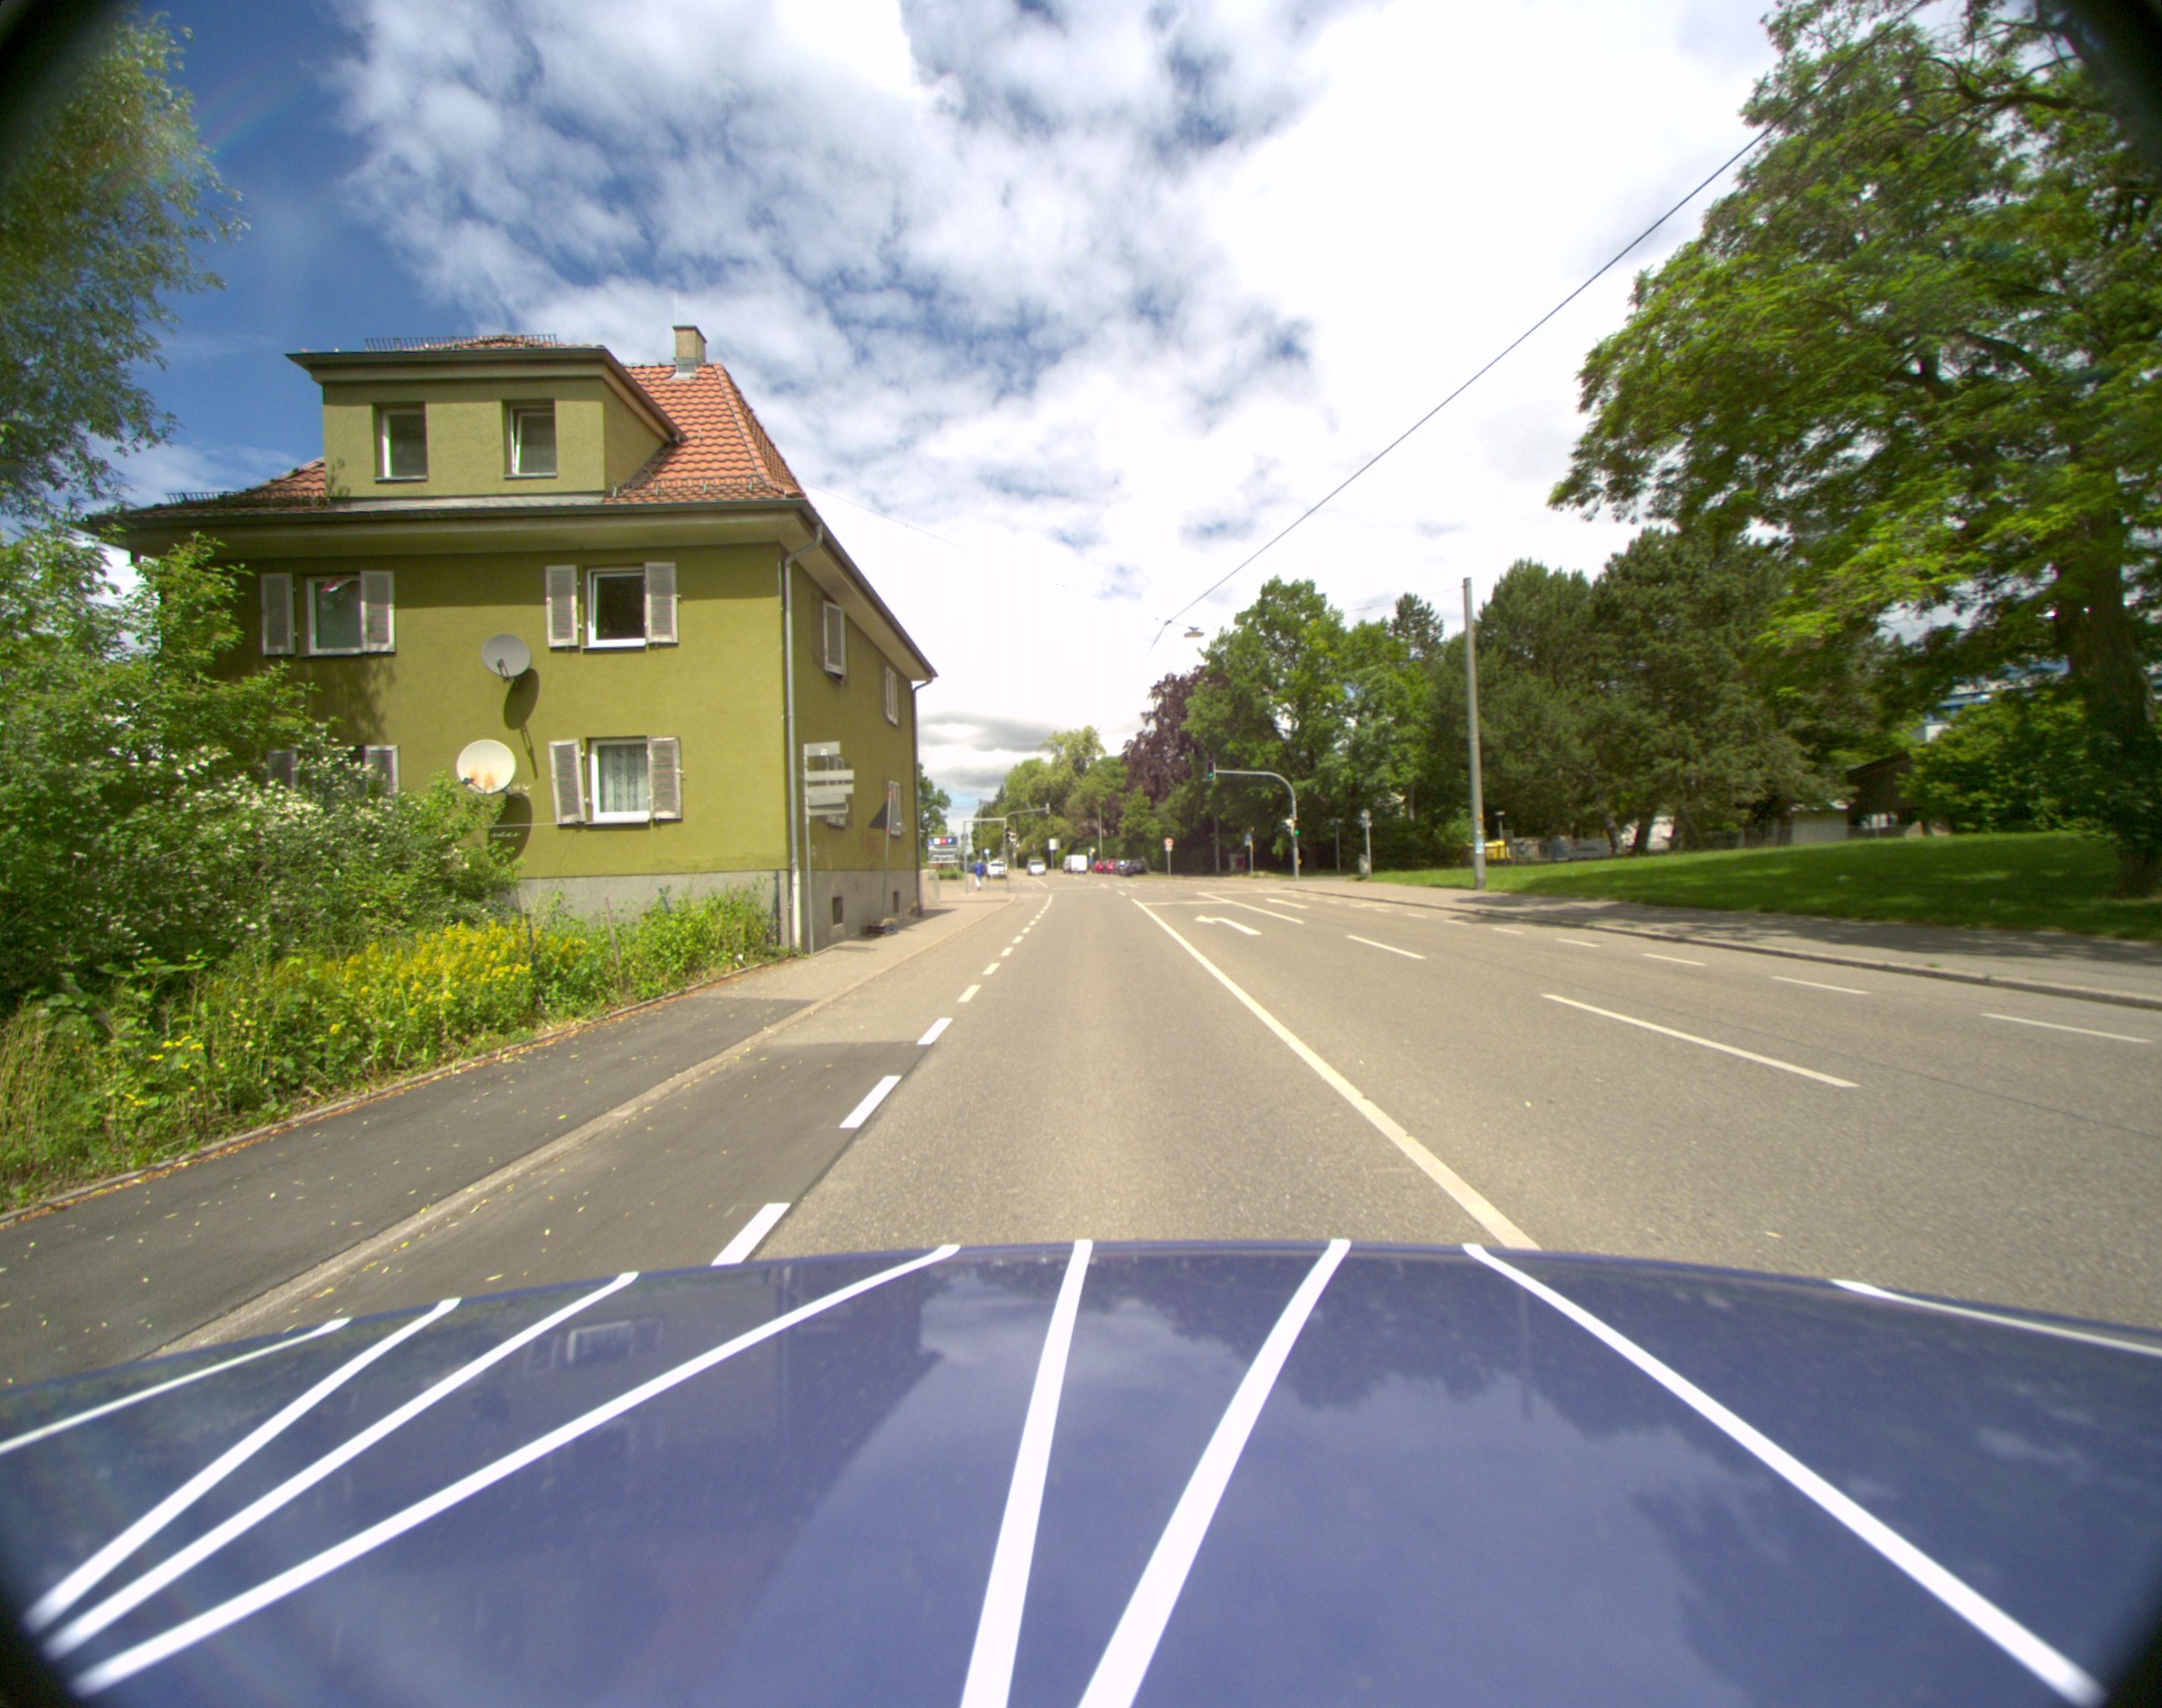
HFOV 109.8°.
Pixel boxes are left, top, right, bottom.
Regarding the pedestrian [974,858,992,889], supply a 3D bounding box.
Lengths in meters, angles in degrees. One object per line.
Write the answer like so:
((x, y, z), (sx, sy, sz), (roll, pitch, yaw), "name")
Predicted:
((-5.092, 1.001, 39.466), (0.826, 1.563, 0.987), (-1, 1, -4), "pedestrian")

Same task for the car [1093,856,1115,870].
((2.434, 0.994, 81.925), (1.531, 1.358, 3.371), (-3, 1, -12), "car")

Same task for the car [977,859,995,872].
((-12.192, 1.410, 97.288), (1.707, 1.522, 3.995), (-3, 0, -15), "car")

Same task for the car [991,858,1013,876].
((-7.197, 1.151, 69.005), (1.796, 1.522, 3.918), (1, 0, -8), "car")

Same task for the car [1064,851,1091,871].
((-0.382, 0.724, 81.968), (2.000, 2.011, 5.347), (-1, 0, -10), "car")

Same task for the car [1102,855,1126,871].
((3.314, 0.904, 76.982), (1.524, 1.469, 3.321), (-3, 0, -12), "car")

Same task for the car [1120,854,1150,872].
((4.765, 0.758, 67.882), (1.688, 1.407, 4.398), (-3, 1, -9), "car")

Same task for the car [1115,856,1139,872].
((4.350, 0.915, 72.570), (1.560, 1.404, 3.191), (-3, 1, -9), "car")

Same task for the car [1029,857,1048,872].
((-4.466, 1.111, 80.171), (1.552, 1.418, 3.853), (-3, 0, -9), "car")
